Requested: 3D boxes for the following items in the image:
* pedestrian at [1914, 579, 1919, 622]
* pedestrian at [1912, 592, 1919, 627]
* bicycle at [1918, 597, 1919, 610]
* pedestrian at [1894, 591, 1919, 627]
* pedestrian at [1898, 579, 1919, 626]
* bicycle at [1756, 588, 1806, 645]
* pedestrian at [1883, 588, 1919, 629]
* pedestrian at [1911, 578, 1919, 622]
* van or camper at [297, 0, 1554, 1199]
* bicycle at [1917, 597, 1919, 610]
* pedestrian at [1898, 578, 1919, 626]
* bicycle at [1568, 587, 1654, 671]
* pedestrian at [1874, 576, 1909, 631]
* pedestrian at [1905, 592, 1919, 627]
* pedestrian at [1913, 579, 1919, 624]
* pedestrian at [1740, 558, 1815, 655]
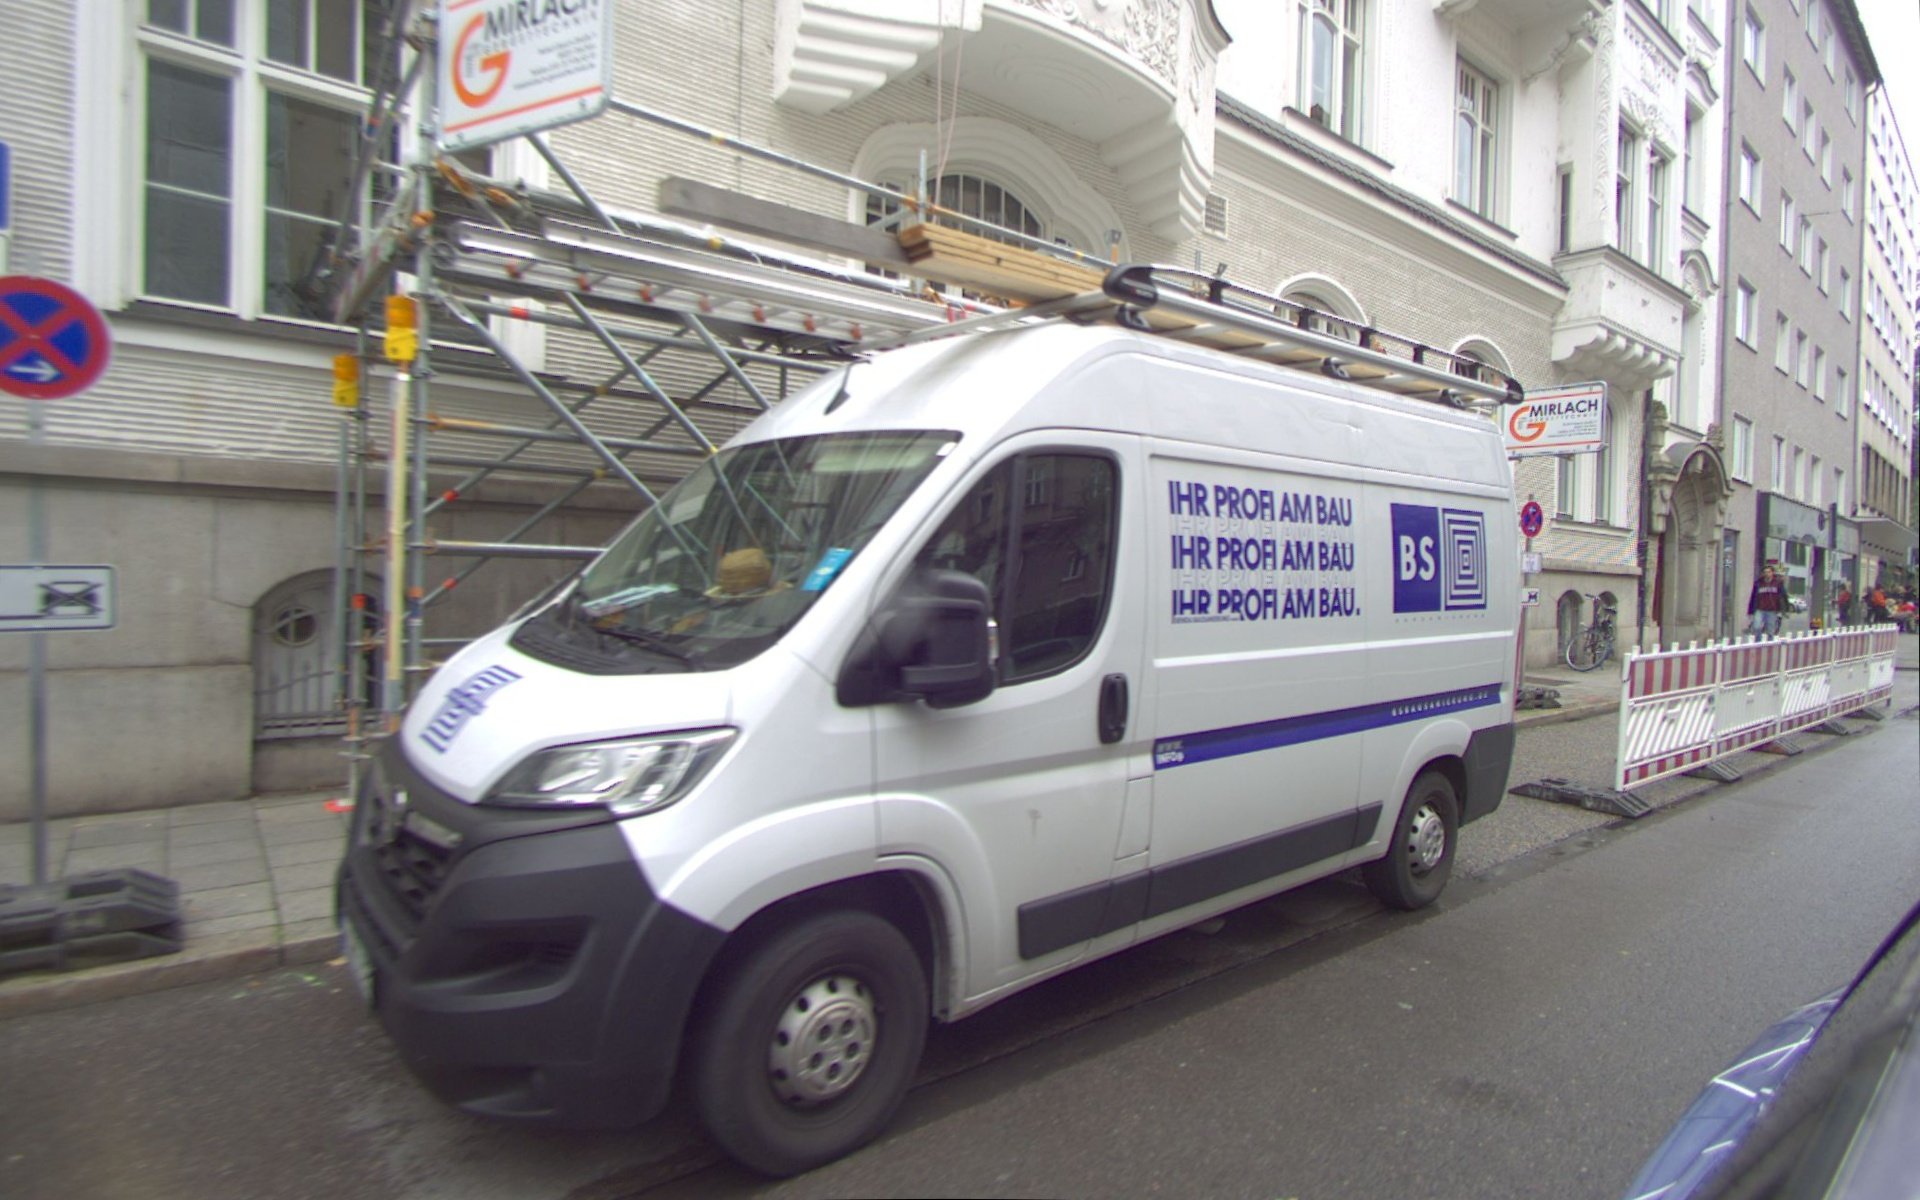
[{"bbox_3d":[40.461,0.025,42.344,0.757,1.805,0.659,0,2,-40],"label":"pedestrian"},{"bbox_3d":[34.852,0.360,36.450,0.574,1.252,0.709,0,2,-40],"label":"pedestrian"},{"bbox_3d":[82.398,0.321,85.458,2.114,1.130,0.729,3,2,40],"label":"bicycle"},{"bbox_3d":[33.960,0.334,35.922,0.656,1.252,1.099,0,2,-40],"label":"pedestrian"},{"bbox_3d":[36.263,0.075,38.543,0.764,1.754,0.659,0,2,-40],"label":"pedestrian"},{"bbox_3d":[19.460,0.368,23.979,1.788,1.275,0.513,0,5,-41],"label":"bicycle"},{"bbox_3d":[32.581,0.286,34.974,0.847,1.369,0.862,0,2,-40],"label":"pedestrian"},{"bbox_3d":[39.870,0.004,41.874,0.684,1.845,0.659,0,2,-40],"label":"pedestrian"},{"bbox_3d":[0.455,0.029,4.370,5.362,2.669,1.958,0,2,-41],"label":"van or camper"},{"bbox_3d":[84.090,0.309,87.291,2.114,1.130,0.621,3,2,40],"label":"bicycle"},{"bbox_3d":[35.317,0.074,37.539,0.672,1.754,0.659,0,2,-40],"label":"pedestrian"},{"bbox_3d":[10.487,0.428,16.277,1.890,1.220,0.661,-1,6,-45],"label":"bicycle"},{"bbox_3d":[30.603,0.098,33.238,0.733,1.754,0.704,0,2,-40],"label":"pedestrian"},{"bbox_3d":[35.060,0.335,36.971,0.487,1.252,0.681,0,2,-40],"label":"pedestrian"},{"bbox_3d":[37.832,0.083,39.594,0.684,1.754,0.659,0,2,-40],"label":"pedestrian"},{"bbox_3d":[17.209,0.115,21.303,1.158,1.933,0.929,0,4,-41],"label":"pedestrian"}]
